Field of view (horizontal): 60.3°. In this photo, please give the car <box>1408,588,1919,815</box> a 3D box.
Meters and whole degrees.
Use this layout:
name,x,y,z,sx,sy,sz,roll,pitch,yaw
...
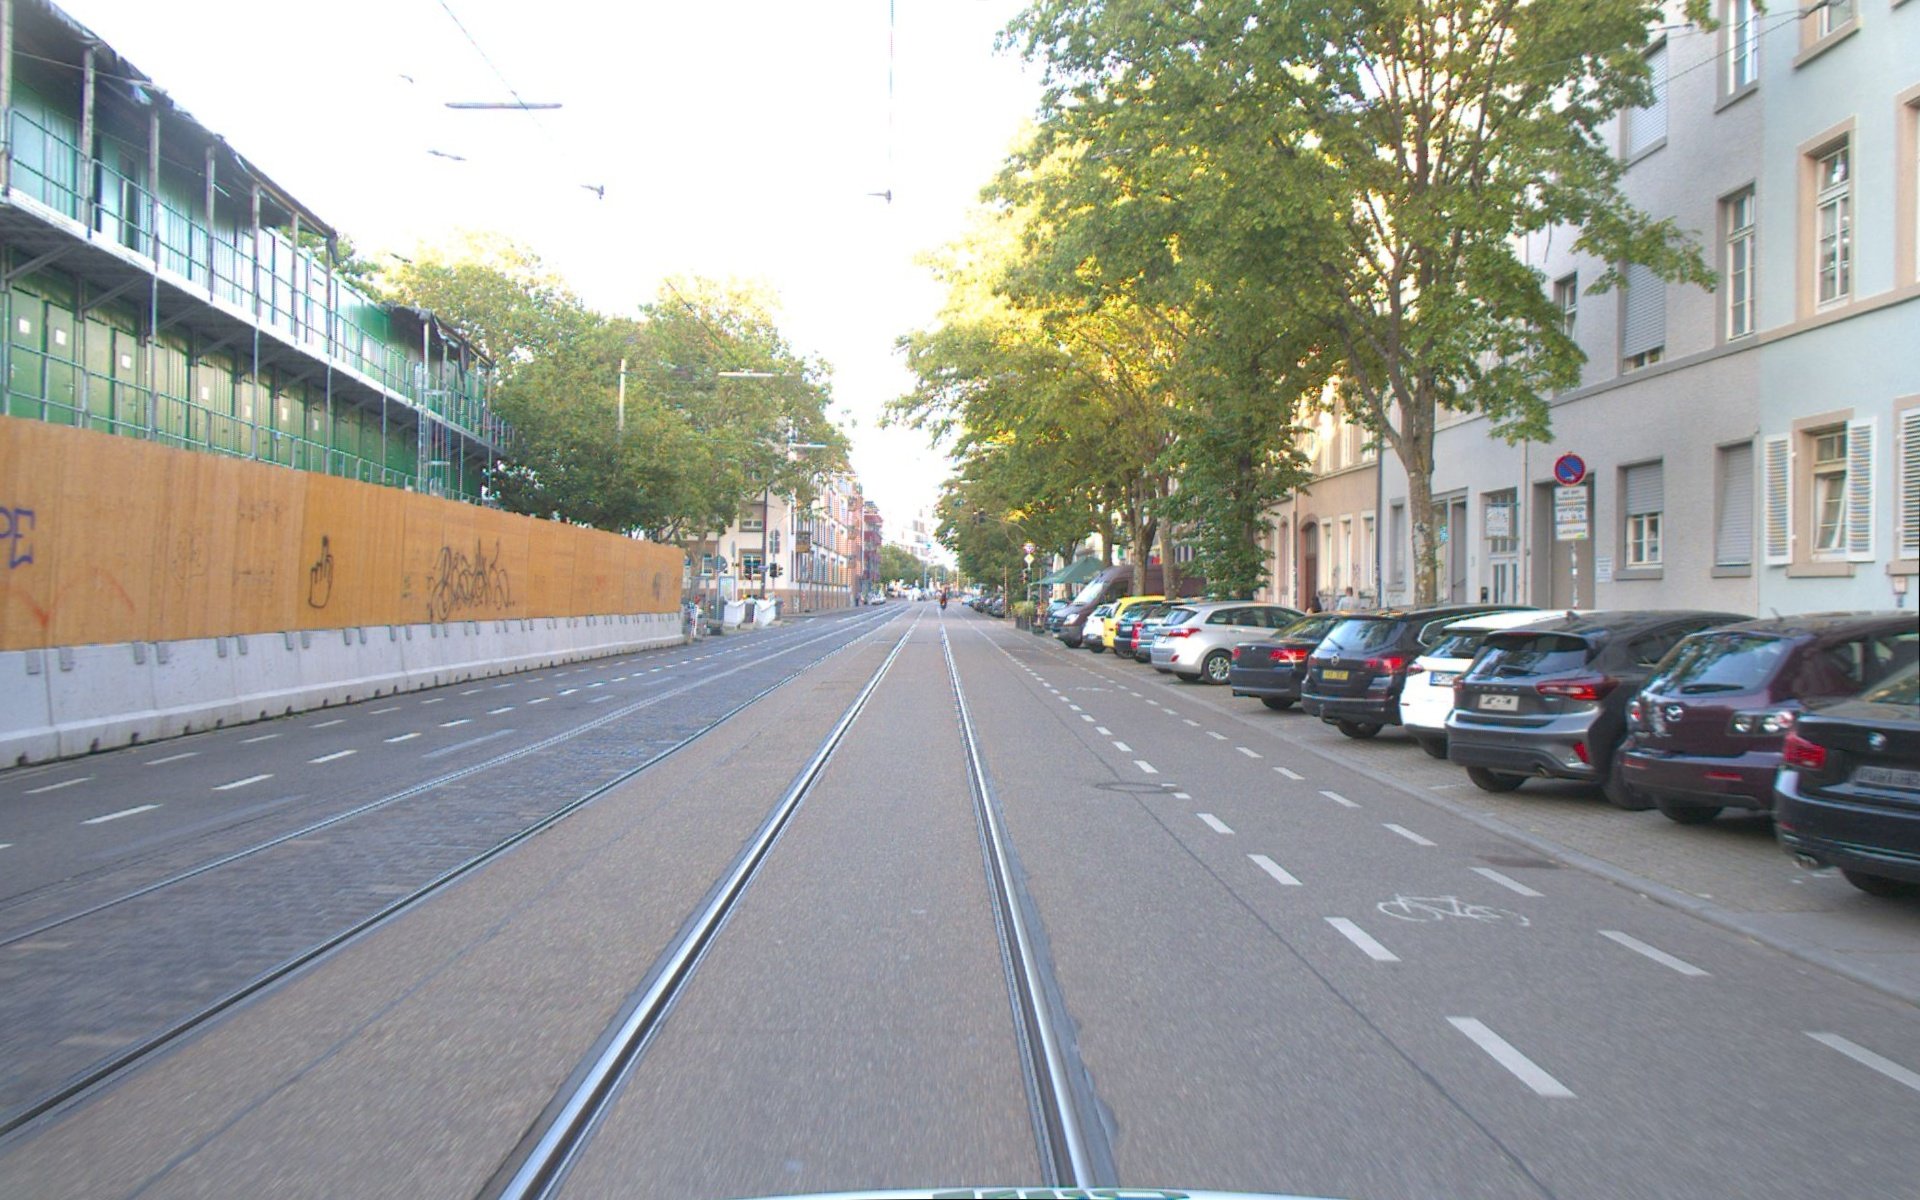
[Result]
name,x,y,z,sx,sy,sz,roll,pitch,yaw
car,5.953,0.744,13.789,4.065,1.496,1.809,-3,1,-25

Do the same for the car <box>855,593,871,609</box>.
name,x,y,z,sx,sy,sz,roll,pitch,yaw
car,-12.903,0.127,220.743,1.859,2.049,3.999,1,0,-1

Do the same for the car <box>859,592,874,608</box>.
name,x,y,z,sx,sy,sz,roll,pitch,yaw
car,-12.713,0.009,225.392,1.859,2.216,3.999,1,0,-1

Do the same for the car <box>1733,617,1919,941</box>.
name,x,y,z,sx,sy,sz,roll,pitch,yaw
car,6.344,0.785,8.638,4.101,1.451,1.813,-3,1,-20

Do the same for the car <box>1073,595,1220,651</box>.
name,x,y,z,sx,sy,sz,roll,pitch,yaw
car,5.482,0.671,48.698,3.900,1.512,1.906,-1,-1,-25

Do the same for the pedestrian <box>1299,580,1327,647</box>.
name,x,y,z,sx,sy,sz,roll,pitch,yaw
pedestrian,8.529,0.319,39.982,0.527,1.595,0.813,0,0,1

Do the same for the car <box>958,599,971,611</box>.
name,x,y,z,sx,sy,sz,roll,pitch,yaw
car,0.712,0.741,251.347,1.923,1.748,3.999,1,0,-1

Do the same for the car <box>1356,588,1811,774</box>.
name,x,y,z,sx,sy,sz,roll,pitch,yaw
car,6.212,0.721,16.485,4.065,1.496,1.971,-3,1,-26

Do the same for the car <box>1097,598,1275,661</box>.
name,x,y,z,sx,sy,sz,roll,pitch,yaw
car,5.666,0.726,41.457,4.071,1.450,1.904,-1,-1,-27

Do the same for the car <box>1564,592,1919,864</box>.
name,x,y,z,sx,sy,sz,roll,pitch,yaw
car,6.445,0.739,11.365,3.887,1.496,1.992,-3,1,-17

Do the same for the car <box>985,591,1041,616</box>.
name,x,y,z,sx,sy,sz,roll,pitch,yaw
car,3.711,0.242,115.760,3.808,1.620,1.861,2,0,0

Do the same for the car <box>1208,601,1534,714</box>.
name,x,y,z,sx,sy,sz,roll,pitch,yaw
car,5.842,0.763,23.519,4.195,1.416,2.000,-1,0,-25

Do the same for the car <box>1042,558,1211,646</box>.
name,x,y,z,sx,sy,sz,roll,pitch,yaw
car,5.376,0.045,53.434,5.016,2.689,2.011,-1,0,-18

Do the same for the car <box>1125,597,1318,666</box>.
name,x,y,z,sx,sy,sz,roll,pitch,yaw
car,6.023,0.706,38.116,4.071,1.450,1.882,-1,-1,-27

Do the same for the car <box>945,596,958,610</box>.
name,x,y,z,sx,sy,sz,roll,pitch,yaw
car,-1.280,0.418,240.443,1.859,2.049,3.999,1,0,-1

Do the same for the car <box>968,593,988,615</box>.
name,x,y,z,sx,sy,sz,roll,pitch,yaw
car,1.741,0.366,160.810,1.768,2.049,3.999,1,0,-1

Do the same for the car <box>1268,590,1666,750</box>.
name,x,y,z,sx,sy,sz,roll,pitch,yaw
car,5.795,0.727,18.910,4.065,1.496,1.999,-3,1,-26

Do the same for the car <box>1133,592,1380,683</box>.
name,x,y,z,sx,sy,sz,roll,pitch,yaw
car,5.588,0.680,31.408,4.175,1.576,2.014,-1,0,-12

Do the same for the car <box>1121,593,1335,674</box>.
name,x,y,z,sx,sy,sz,roll,pitch,yaw
car,5.734,0.683,35.396,4.194,1.588,1.884,-1,-1,-24

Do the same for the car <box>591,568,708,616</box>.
name,x,y,z,sx,sy,sz,roll,pitch,yaw
car,-14.595,-0.390,77.815,4.922,1.978,2.228,3,0,3

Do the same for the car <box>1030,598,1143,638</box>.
name,x,y,z,sx,sy,sz,roll,pitch,yaw
car,5.104,0.728,66.540,4.123,1.525,1.992,0,-1,-26

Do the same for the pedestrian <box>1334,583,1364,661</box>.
name,x,y,z,sx,sy,sz,roll,pitch,yaw
pedestrian,9.264,0.515,39.424,0.554,1.846,0.607,0,0,0

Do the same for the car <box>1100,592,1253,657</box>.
name,x,y,z,sx,sy,sz,roll,pitch,yaw
car,5.821,0.653,44.861,3.870,1.648,1.920,-1,-1,-1
